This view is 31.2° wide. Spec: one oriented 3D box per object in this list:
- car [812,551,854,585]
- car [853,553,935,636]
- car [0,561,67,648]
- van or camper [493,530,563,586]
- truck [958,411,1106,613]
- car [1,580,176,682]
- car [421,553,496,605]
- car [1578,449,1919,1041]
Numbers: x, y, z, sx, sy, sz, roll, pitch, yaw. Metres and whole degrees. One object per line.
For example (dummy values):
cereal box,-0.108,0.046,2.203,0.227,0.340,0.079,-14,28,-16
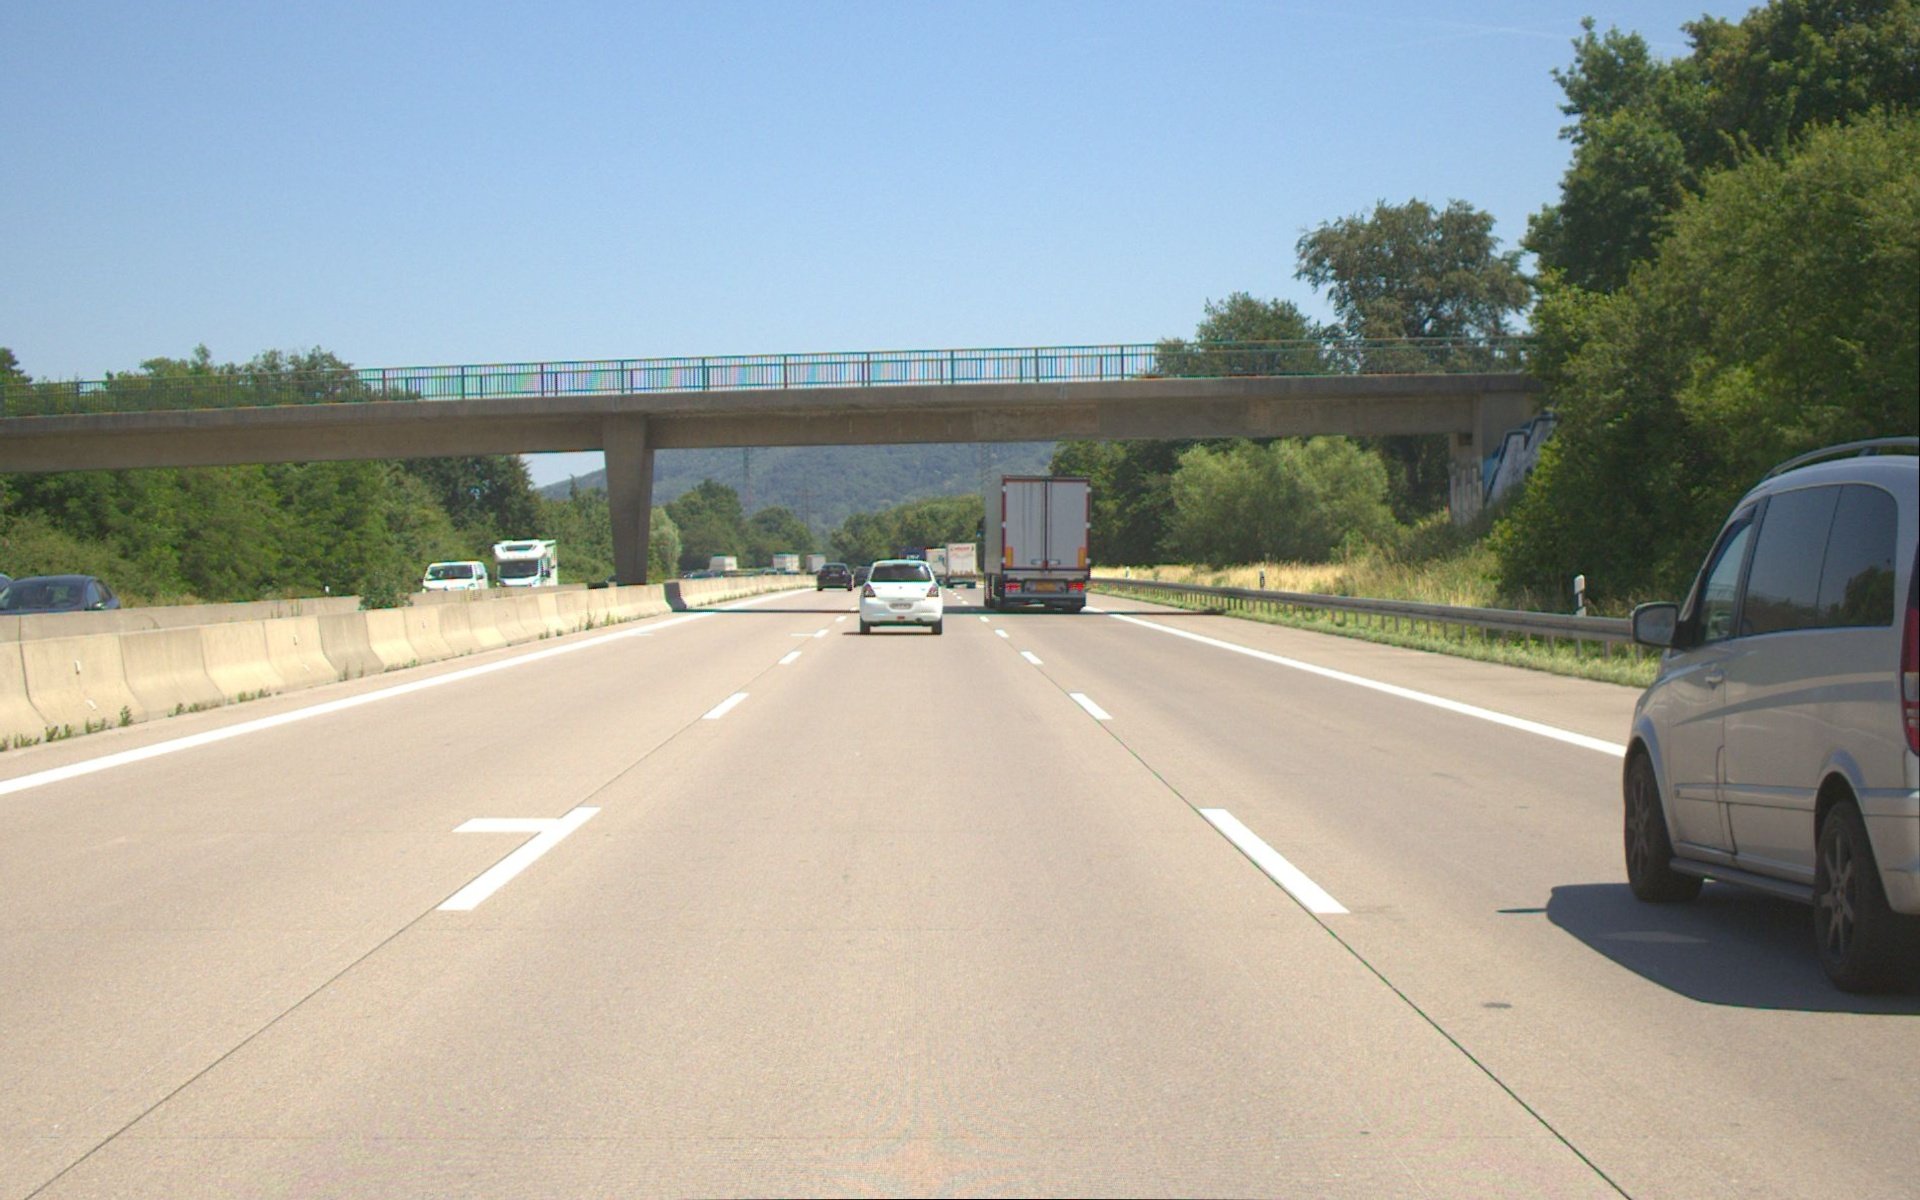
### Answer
car,-6.601,-1.679,178.234,2.022,1.695,4.001,1,0,-3
car,-1.343,-0.134,70.710,1.641,1.656,3.360,1,1,-1
car,-17.778,0.082,61.535,2.065,1.491,6.136,-1,1,-1
van or camper,-19.180,-1.875,152.828,2.248,2.435,7.803,1,1,-1
truck,2.075,-2.650,107.703,3.577,5.767,18.249,0,1,-2
car,-13.694,0.455,54.222,1.757,1.491,4.081,-1,1,-1
car,-17.241,-0.744,118.400,1.826,1.712,5.793,0,1,-1
car,3.885,0.421,13.584,1.879,1.882,5.280,0,1,-1
